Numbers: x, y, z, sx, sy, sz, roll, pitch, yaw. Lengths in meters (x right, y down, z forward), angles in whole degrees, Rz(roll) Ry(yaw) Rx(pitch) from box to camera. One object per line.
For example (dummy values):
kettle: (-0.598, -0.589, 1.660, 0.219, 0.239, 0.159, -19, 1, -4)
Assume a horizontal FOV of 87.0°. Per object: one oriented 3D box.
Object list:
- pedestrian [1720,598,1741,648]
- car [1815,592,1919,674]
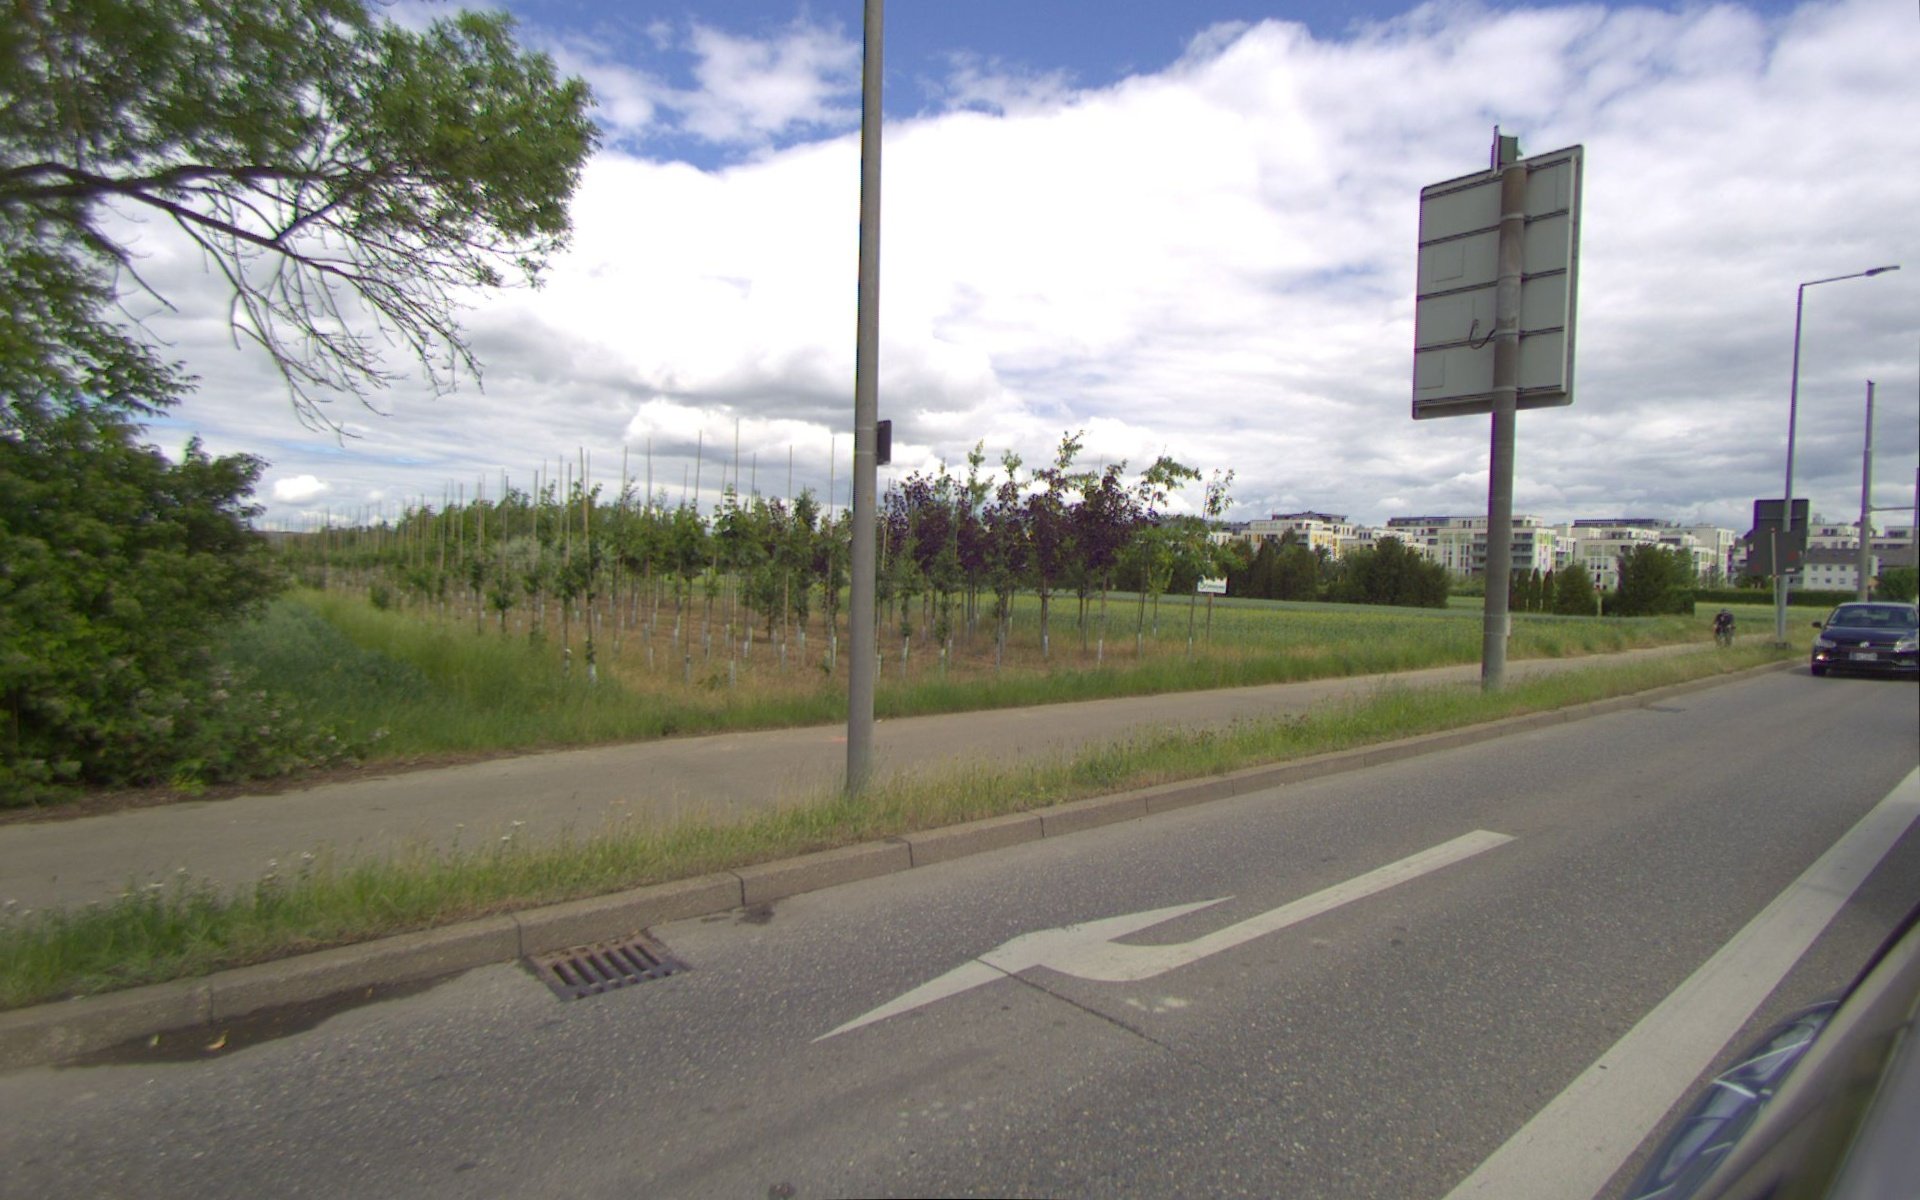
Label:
pedestrian: (26.917, 0.792, 35.349, 0.615, 1.724, 0.492, 0, 0, -42)
car: (18.116, 0.579, 19.792, 3.676, 1.436, 1.681, 0, 2, -42)
